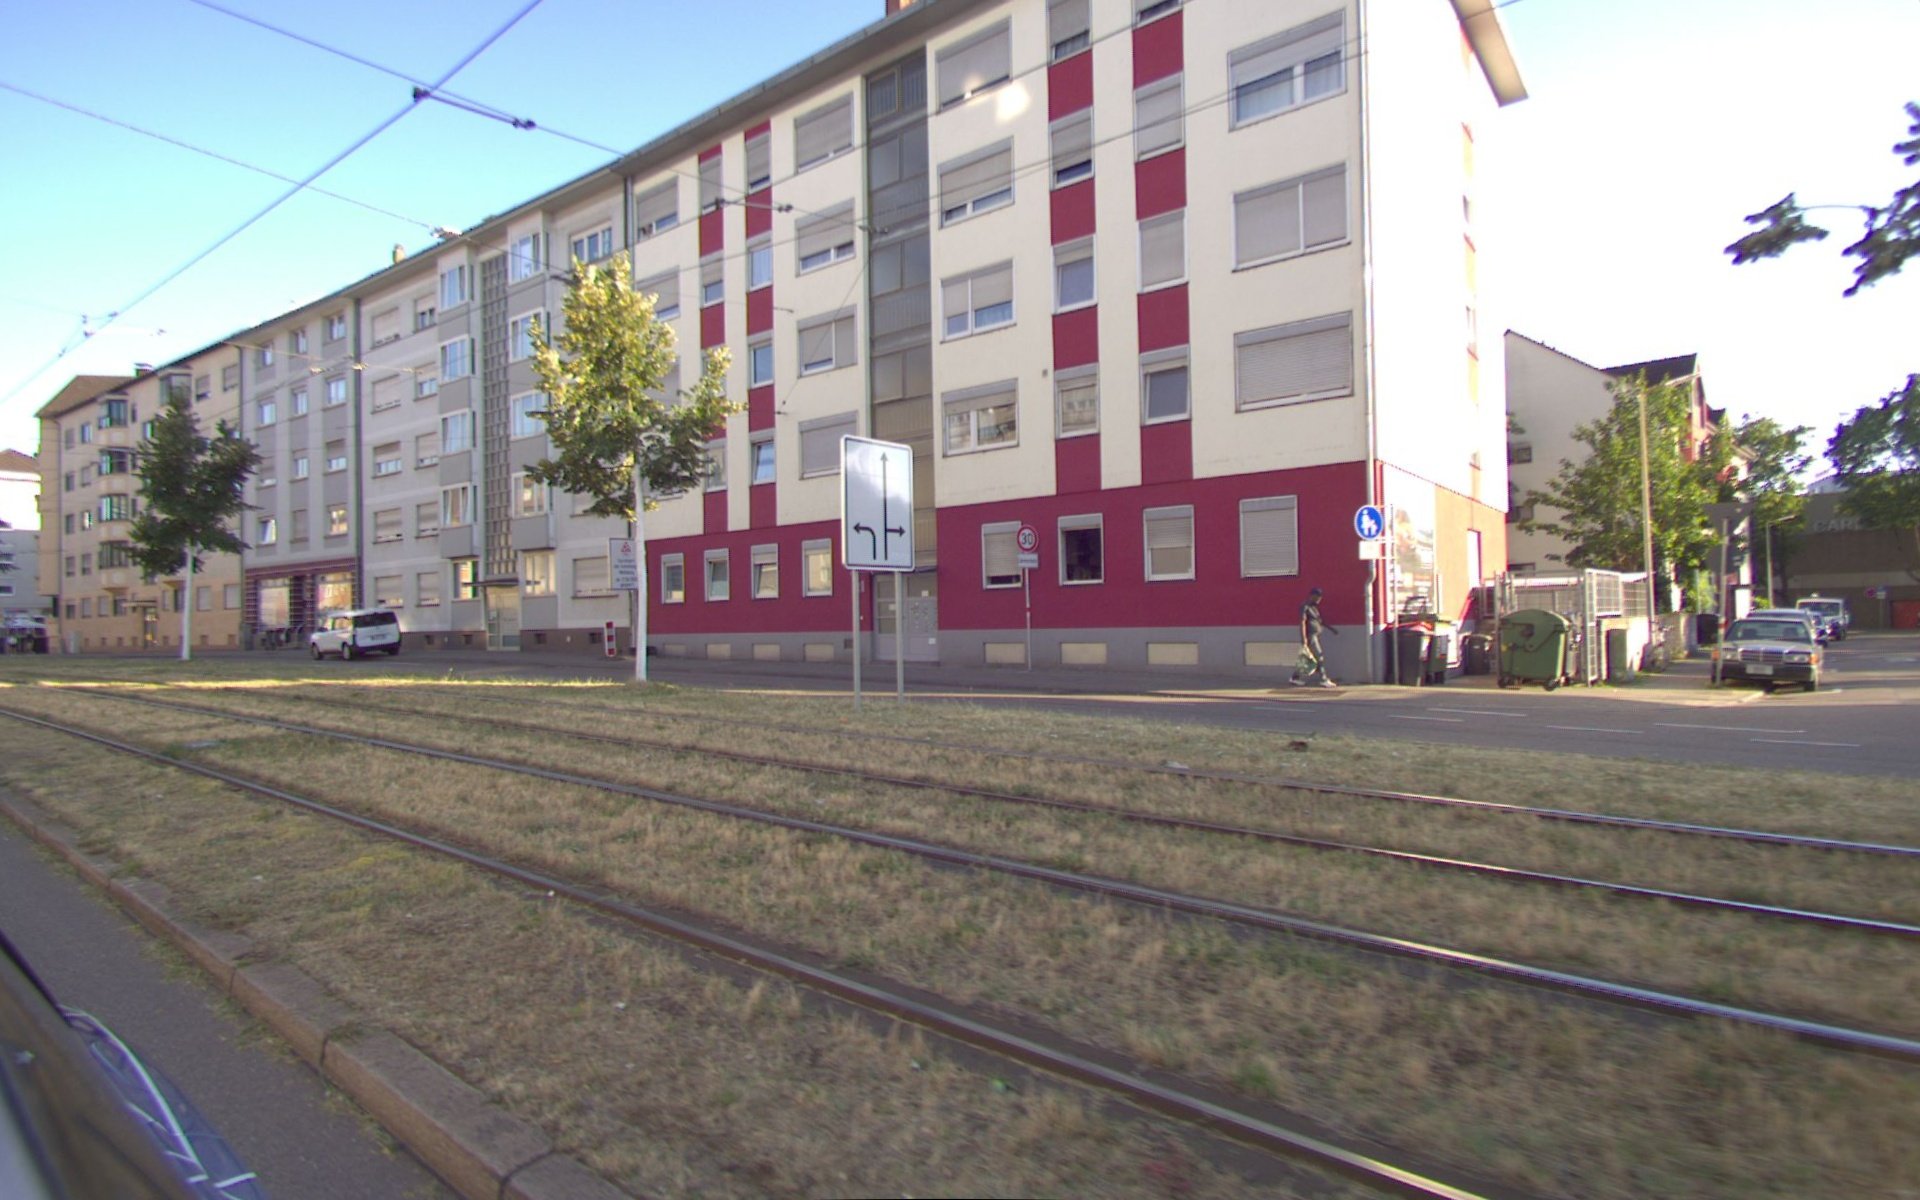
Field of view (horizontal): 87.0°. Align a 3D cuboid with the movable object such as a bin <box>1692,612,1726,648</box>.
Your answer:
[{"bbox_3d":[30.730,1.217,41.534,0.947,1.466,1.368,-1,-1,43],"label":"movable object such as a bin"}]

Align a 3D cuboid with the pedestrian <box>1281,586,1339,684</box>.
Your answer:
[{"bbox_3d":[6.230,0.609,18.022,0.790,1.702,0.607,-2,-1,38],"label":"pedestrian"}]

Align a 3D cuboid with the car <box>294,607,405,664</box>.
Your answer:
[{"bbox_3d":[-23.175,1.340,38.372,4.412,1.842,1.851,-2,6,36],"label":"car"}]

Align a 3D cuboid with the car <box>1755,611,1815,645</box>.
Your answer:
[{"bbox_3d":[34.801,1.159,42.646,1.702,1.370,3.789,-1,-1,43],"label":"car"}]

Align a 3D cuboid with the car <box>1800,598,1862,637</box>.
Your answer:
[{"bbox_3d":[46.976,0.934,54.553,5.624,1.993,1.961,0,-1,-44],"label":"car"}]

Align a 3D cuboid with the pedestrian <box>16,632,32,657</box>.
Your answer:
[{"bbox_3d":[-67.389,3.226,72.856,0.625,1.784,0.827,0,-2,-28],"label":"pedestrian"}]

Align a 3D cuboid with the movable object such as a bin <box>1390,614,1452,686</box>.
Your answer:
[{"bbox_3d":[8.223,0.870,18.045,0.805,1.235,0.857,-1,-1,39],"label":"movable object such as a bin"}]

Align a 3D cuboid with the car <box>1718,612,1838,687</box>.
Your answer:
[{"bbox_3d":[16.361,0.929,20.241,1.700,1.303,3.823,-2,-1,40],"label":"car"}]

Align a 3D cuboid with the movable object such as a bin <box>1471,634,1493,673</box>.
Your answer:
[{"bbox_3d":[12.009,1.222,23.289,0.365,0.868,0.422,-1,-1,37],"label":"movable object such as a bin"}]

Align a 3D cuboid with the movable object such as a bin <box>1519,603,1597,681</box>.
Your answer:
[{"bbox_3d":[11.445,0.782,19.369,1.107,1.426,1.205,-1,-1,39],"label":"movable object such as a bin"}]

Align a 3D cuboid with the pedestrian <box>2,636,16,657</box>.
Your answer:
[{"bbox_3d":[-68.342,3.336,72.708,0.580,1.501,0.618,-1,-1,32],"label":"pedestrian"}]

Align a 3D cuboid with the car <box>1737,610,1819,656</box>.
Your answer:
[{"bbox_3d":[25.389,0.985,31.383,1.702,1.314,3.512,-1,-1,43],"label":"car"}]

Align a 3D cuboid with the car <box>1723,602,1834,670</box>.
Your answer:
[{"bbox_3d":[20.015,0.815,24.693,1.899,1.519,3.944,-1,-1,42],"label":"car"}]

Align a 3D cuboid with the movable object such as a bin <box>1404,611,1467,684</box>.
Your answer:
[{"bbox_3d":[8.876,0.859,18.875,0.805,1.296,1.147,-1,-1,39],"label":"movable object such as a bin"}]

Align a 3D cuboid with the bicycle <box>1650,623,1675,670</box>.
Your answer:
[{"bbox_3d":[16.773,1.094,24.148,0.457,1.068,1.919,-1,-2,36],"label":"bicycle"}]

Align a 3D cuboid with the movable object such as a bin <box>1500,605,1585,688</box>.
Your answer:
[{"bbox_3d":[10.528,0.808,18.276,1.137,1.426,1.205,-1,-1,39],"label":"movable object such as a bin"}]
